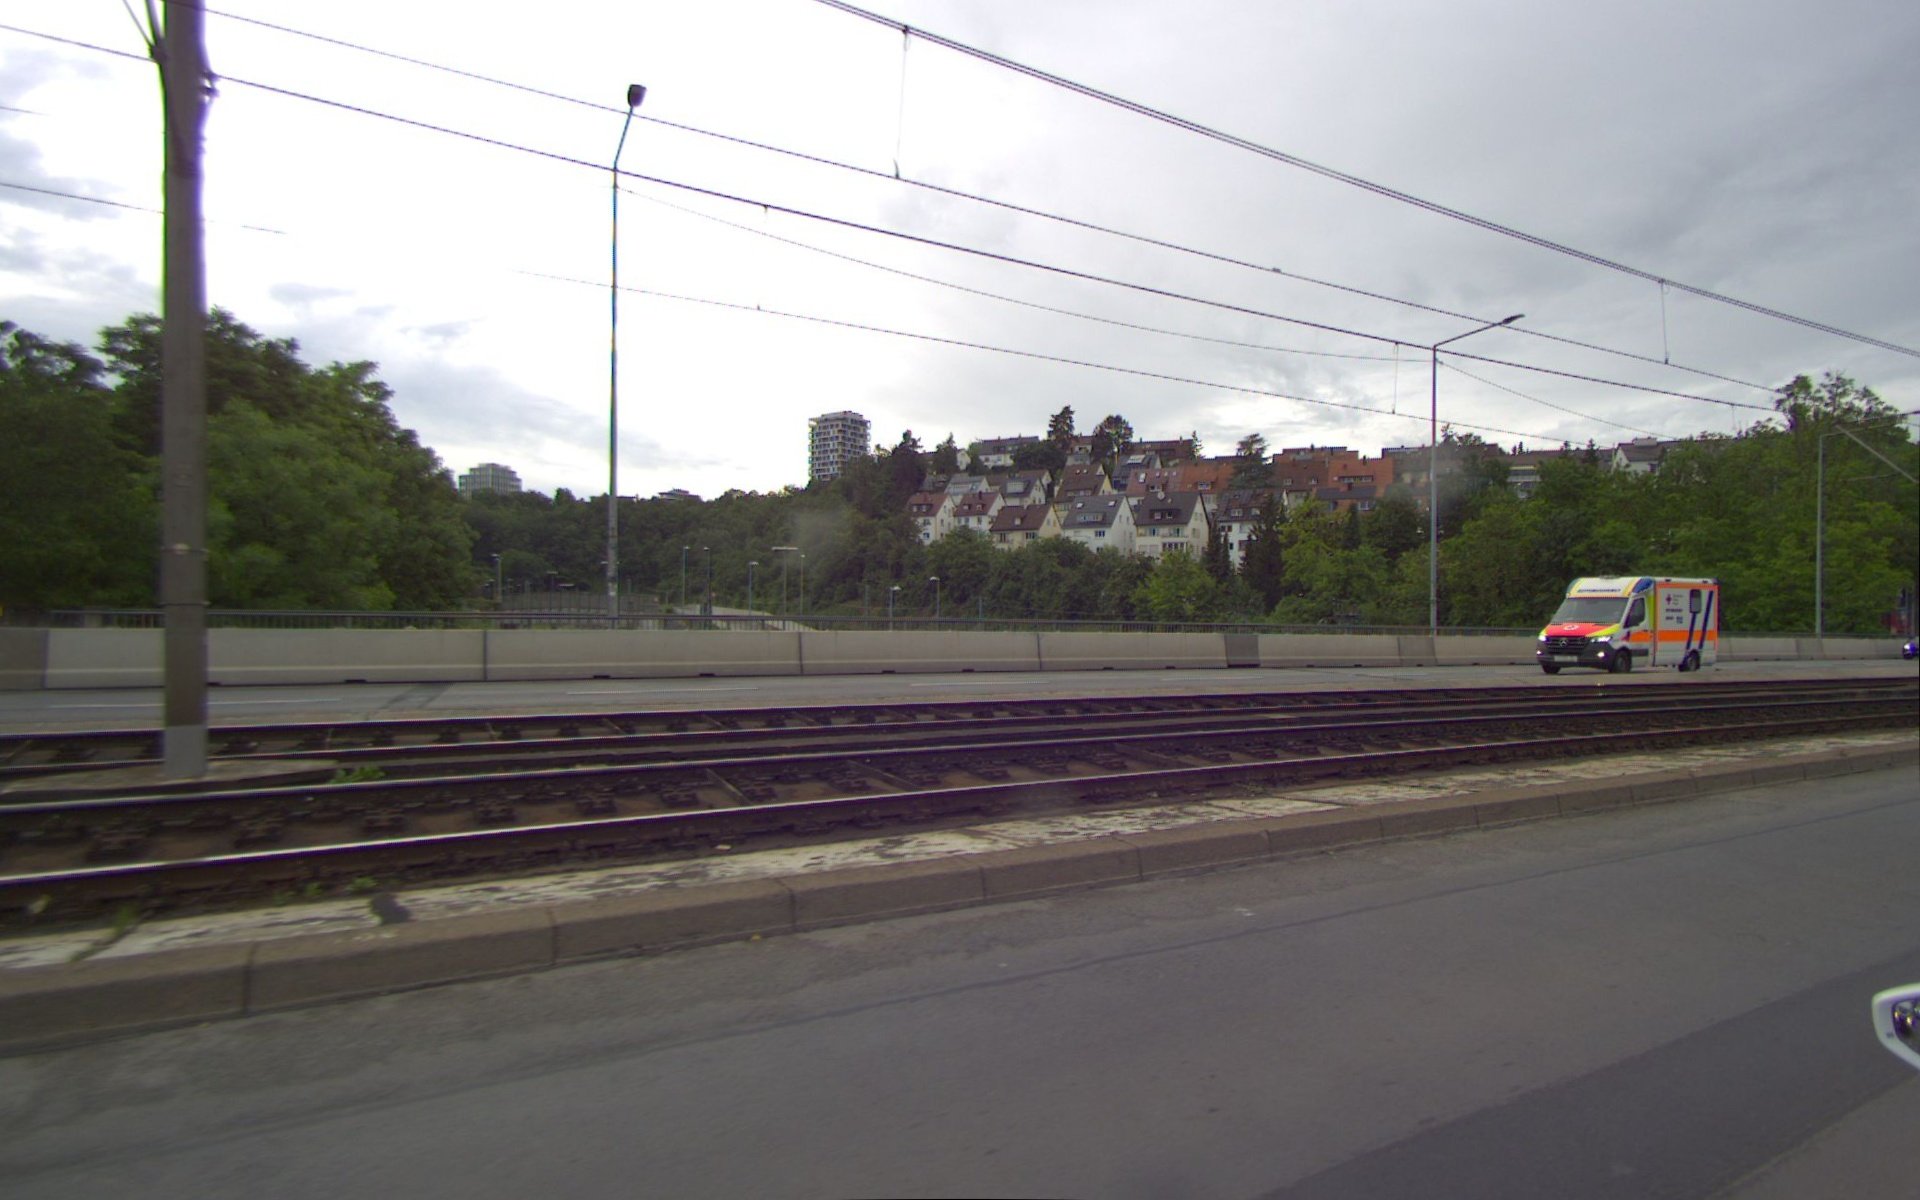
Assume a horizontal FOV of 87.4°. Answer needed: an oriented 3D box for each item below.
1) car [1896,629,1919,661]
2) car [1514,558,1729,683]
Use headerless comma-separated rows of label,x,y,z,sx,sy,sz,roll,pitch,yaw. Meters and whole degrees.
car,46.049,2.114,47.106,4.682,1.455,1.809,1,0,-29
car,18.473,0.576,27.967,6.281,3.157,2.378,2,0,-30
